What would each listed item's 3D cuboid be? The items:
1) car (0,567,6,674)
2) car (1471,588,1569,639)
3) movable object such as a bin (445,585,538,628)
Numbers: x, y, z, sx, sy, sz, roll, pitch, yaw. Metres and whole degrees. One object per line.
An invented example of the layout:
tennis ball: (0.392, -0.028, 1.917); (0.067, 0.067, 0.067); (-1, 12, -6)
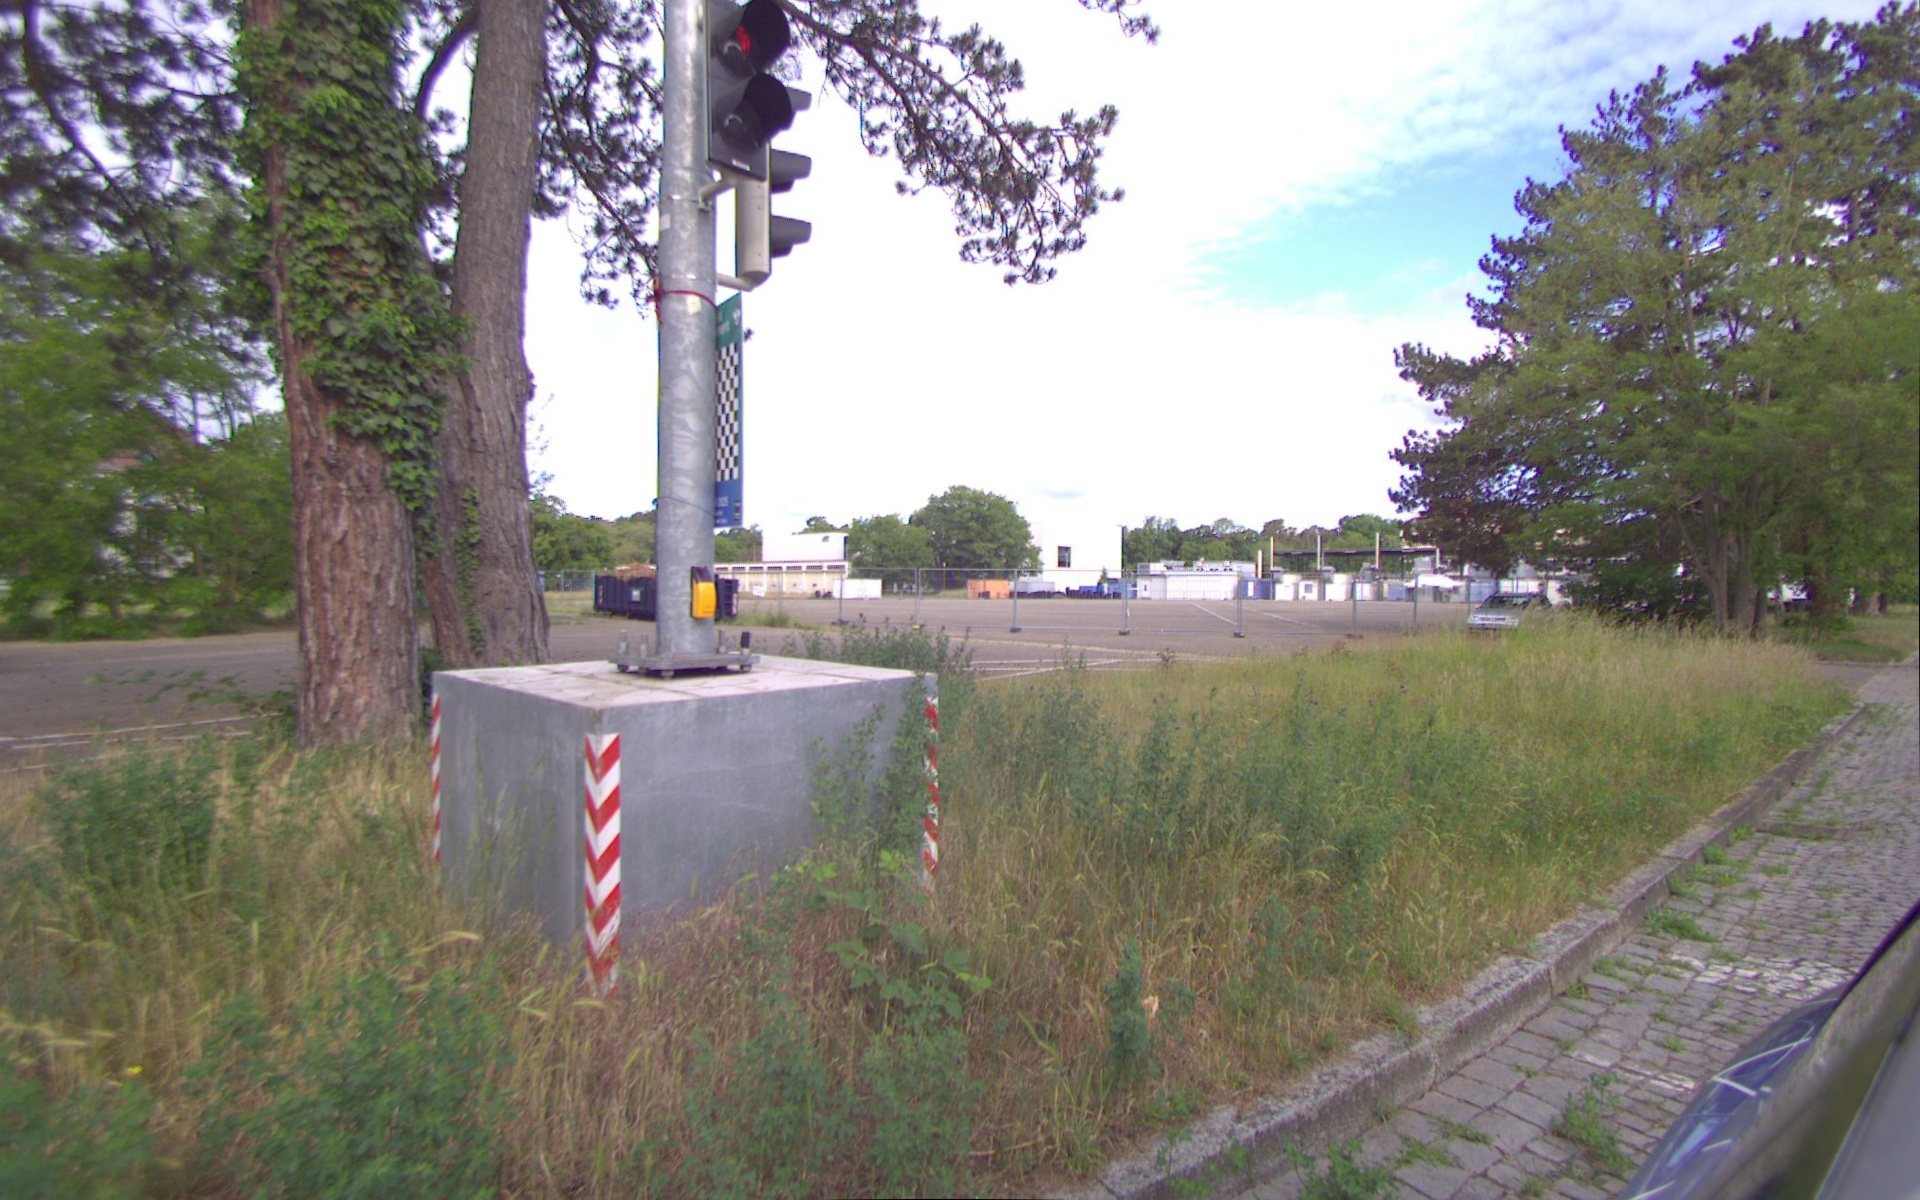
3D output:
car: (-15.599, 0.410, 13.141); (1.847, 1.504, 4.540); (-1, 2, 43)
car: (17.576, 0.366, 31.662); (1.674, 1.469, 4.419); (0, 1, 43)
movable object such as a bin: (-13.153, 0.182, 28.453); (0.957, 1.149, 2.184); (-1, -1, 37)
